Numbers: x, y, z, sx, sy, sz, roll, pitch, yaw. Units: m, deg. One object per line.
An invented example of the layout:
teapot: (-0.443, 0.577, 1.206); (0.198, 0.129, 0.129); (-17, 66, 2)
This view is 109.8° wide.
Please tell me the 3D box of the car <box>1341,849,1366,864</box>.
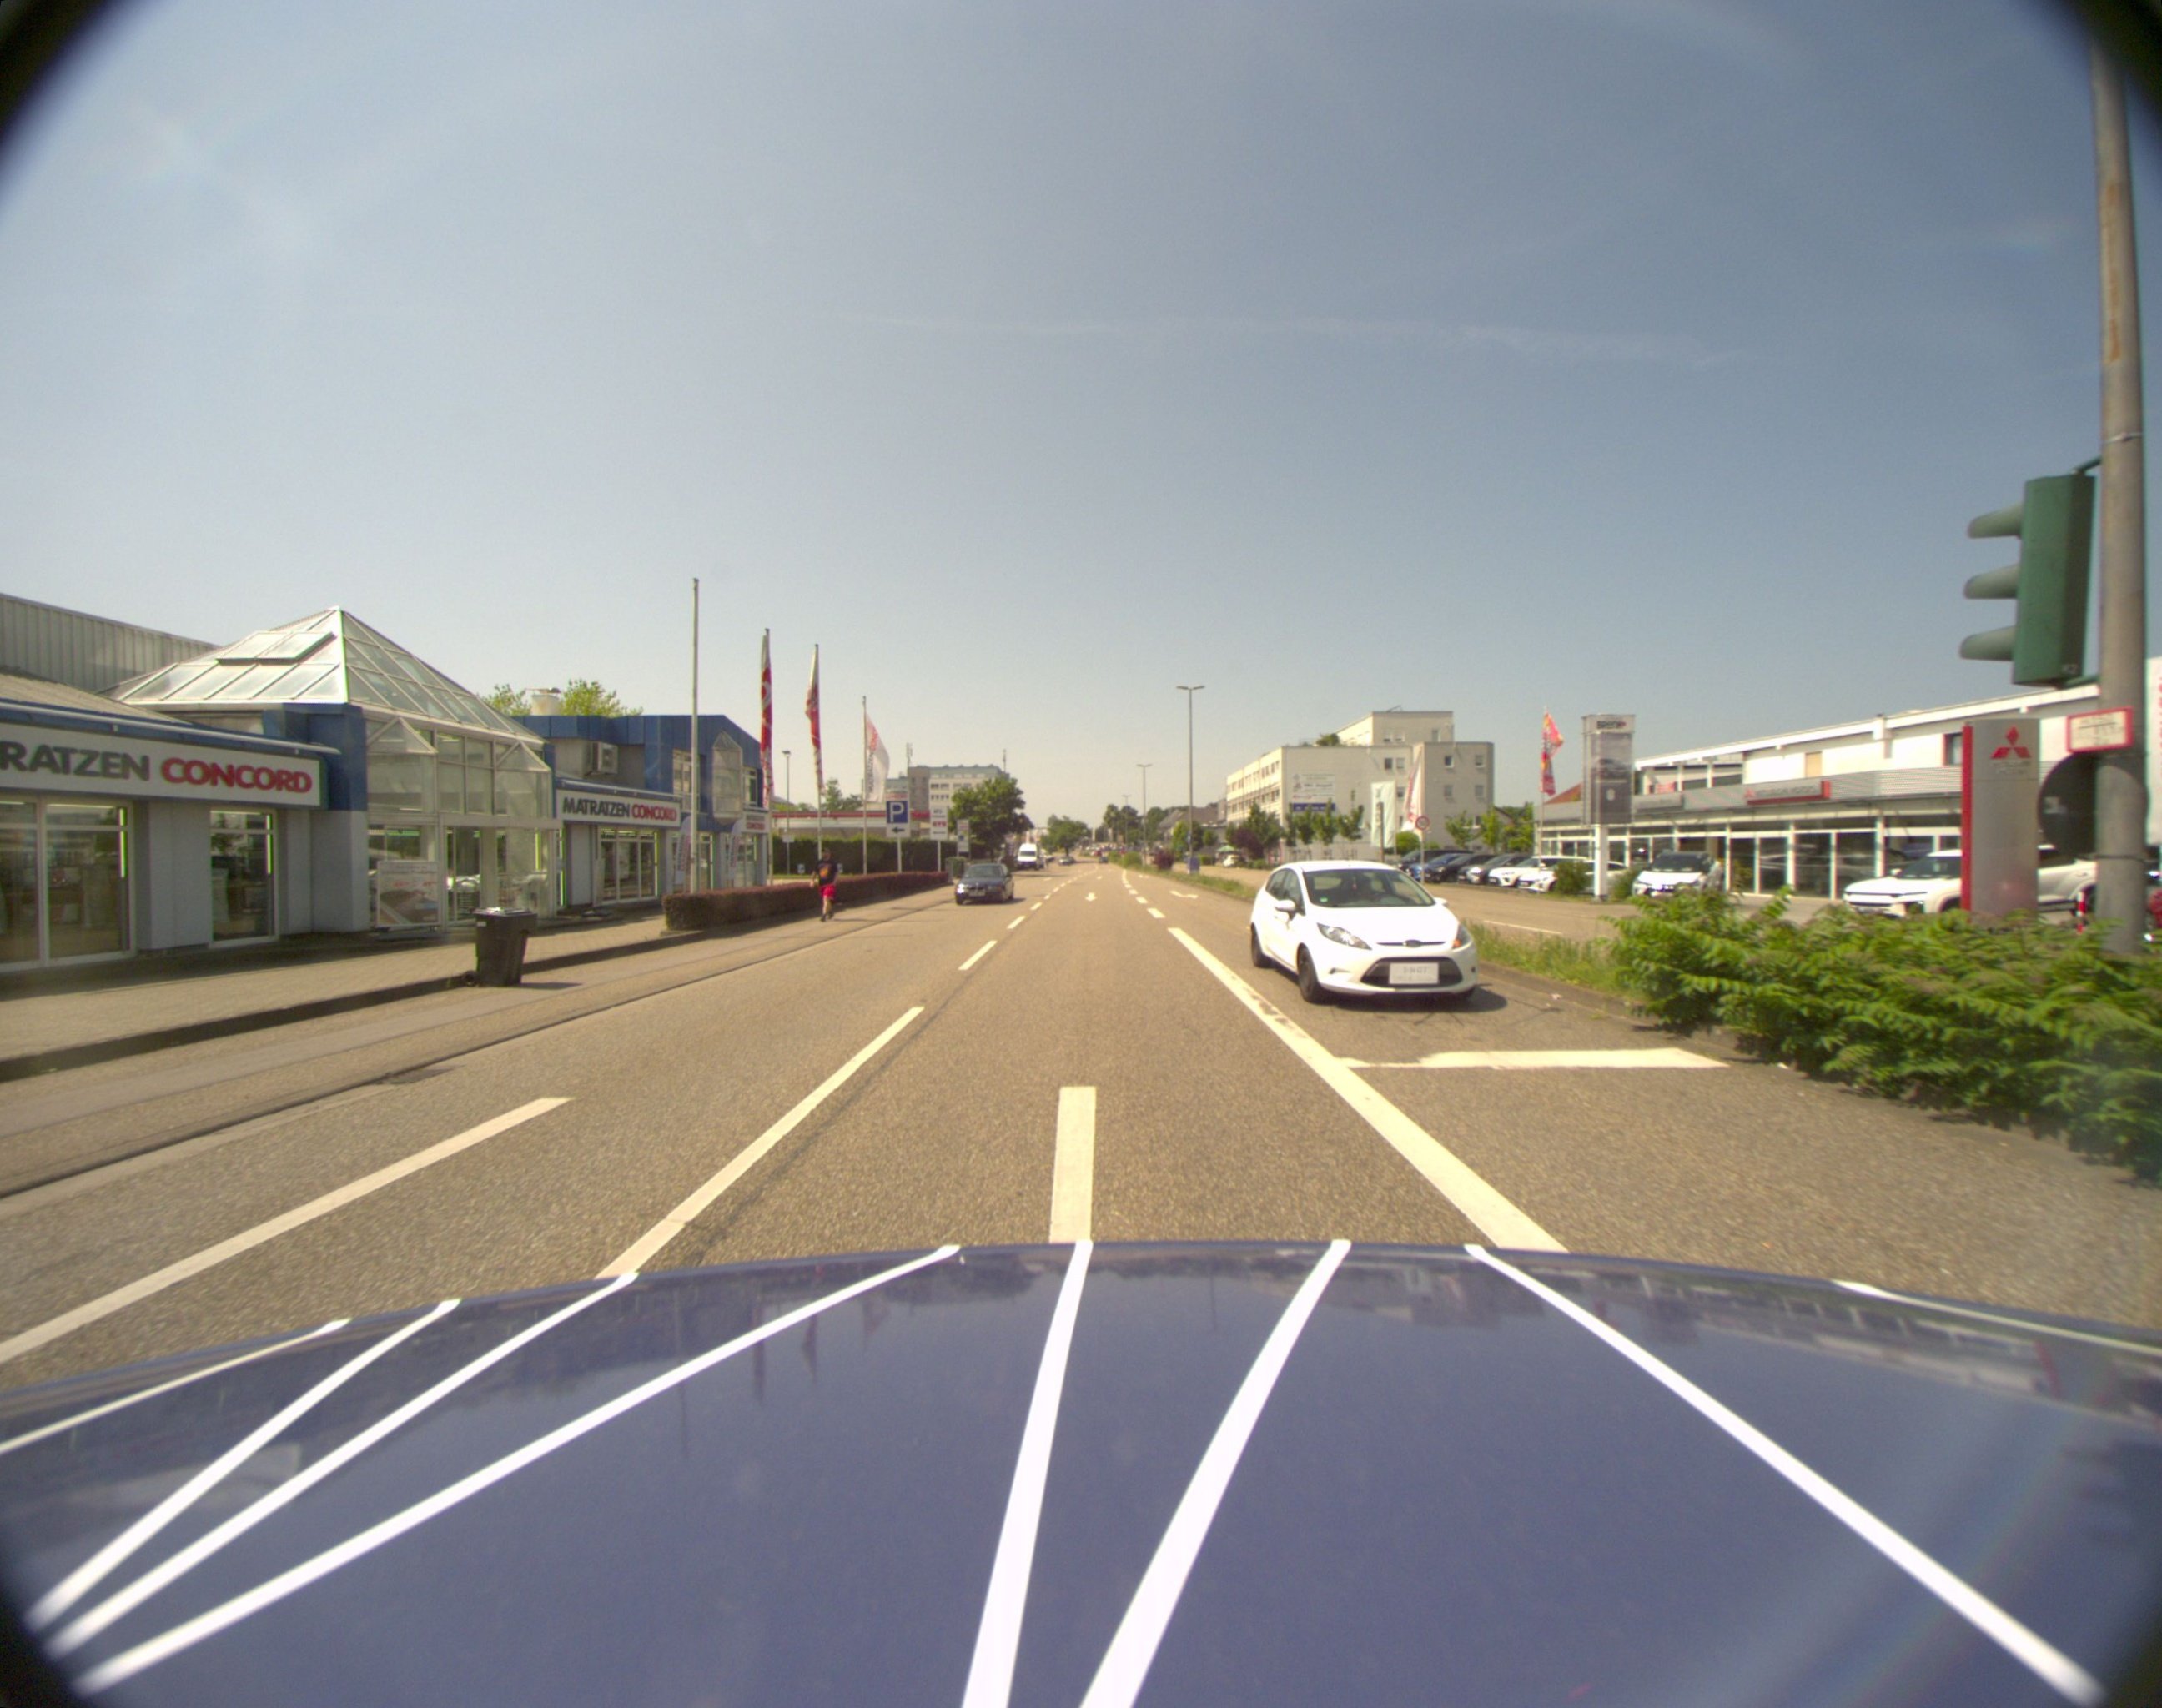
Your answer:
car: (28.451, 0.205, 79.339); (1.557, 1.510, 3.556); (0, 1, 3)

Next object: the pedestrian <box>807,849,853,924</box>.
pedestrian: (-6.293, 0.803, 19.102); (0.787, 1.836, 0.936); (0, 1, 3)

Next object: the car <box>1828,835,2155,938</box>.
car: (19.459, 0.657, 16.431); (4.556, 1.700, 1.760); (-5, 1, 5)

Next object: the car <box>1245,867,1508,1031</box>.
car: (3.111, 0.909, 8.846); (1.693, 1.426, 3.711); (0, 0, 1)

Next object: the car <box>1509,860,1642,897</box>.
car: (19.402, 0.934, 29.935); (3.997, 1.386, 1.860); (0, 1, 0)

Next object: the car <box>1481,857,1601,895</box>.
car: (19.775, 0.922, 32.813); (3.996, 1.599, 1.926); (0, 1, 3)

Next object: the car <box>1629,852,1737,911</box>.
car: (19.708, 0.829, 24.833); (4.007, 1.615, 1.754); (-2, 4, -37)

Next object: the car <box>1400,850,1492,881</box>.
car: (19.939, 0.627, 41.638); (3.997, 1.599, 2.089); (1, 1, 0)

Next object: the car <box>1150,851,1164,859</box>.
car: (13.351, 0.180, 133.677); (1.832, 1.452, 4.712); (0, 0, 0)

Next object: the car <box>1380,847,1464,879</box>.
car: (19.849, 0.503, 44.354); (3.997, 1.871, 2.000); (0, 1, 0)

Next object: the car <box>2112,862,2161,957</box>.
car: (19.269, 0.988, 12.289); (1.834, 1.633, 4.187); (1, 1, 36)

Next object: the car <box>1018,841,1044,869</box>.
car: (-5.248, 0.050, 81.325); (2.183, 2.758, 7.277); (2, 0, 0)

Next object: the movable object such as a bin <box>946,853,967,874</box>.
movable object such as a bin: (-8.575, 0.634, 52.406); (1.133, 1.461, 1.489); (0, 1, 2)

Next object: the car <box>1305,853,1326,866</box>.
car: (25.007, 0.589, 81.005); (1.456, 1.332, 2.833); (0, 1, 3)

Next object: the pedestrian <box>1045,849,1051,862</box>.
pedestrian: (-4.362, 0.190, 100.336); (0.704, 1.572, 0.820); (3, 1, 0)

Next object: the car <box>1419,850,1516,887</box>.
car: (19.652, 0.719, 38.739); (3.997, 1.599, 1.759); (3, 1, -1)

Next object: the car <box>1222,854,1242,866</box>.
car: (18.971, 0.734, 95.725); (1.695, 1.440, 3.665); (-1, 0, 0)

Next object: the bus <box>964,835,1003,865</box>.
bus: (-10.814, -0.491, 85.068); (2.755, 3.134, 9.080); (0, 0, 3)

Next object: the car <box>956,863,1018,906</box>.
car: (-3.263, 1.026, 26.947); (1.632, 1.331, 3.756); (-1, 0, 1)

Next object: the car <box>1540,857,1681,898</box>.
car: (19.470, 0.847, 28.062); (3.997, 1.458, 1.759); (0, 1, 0)

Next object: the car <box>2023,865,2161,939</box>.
car: (24.263, 1.037, 16.998); (3.997, 1.521, 1.865); (0, 1, 1)

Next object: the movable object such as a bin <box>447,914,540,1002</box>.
movable object such as a bin: (-6.918, 1.210, 8.968); (0.552, 0.914, 0.652); (3, 1, 2)

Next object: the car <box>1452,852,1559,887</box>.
car: (19.862, 0.700, 35.640); (3.997, 1.559, 1.759); (1, 1, 0)

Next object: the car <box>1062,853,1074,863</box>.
car: (-2.186, 0.659, 126.868); (1.867, 1.550, 3.999); (0, 0, 0)

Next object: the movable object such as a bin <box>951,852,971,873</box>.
movable object such as a bin: (-8.550, 0.620, 54.012); (1.133, 1.461, 1.489); (0, 1, 2)
